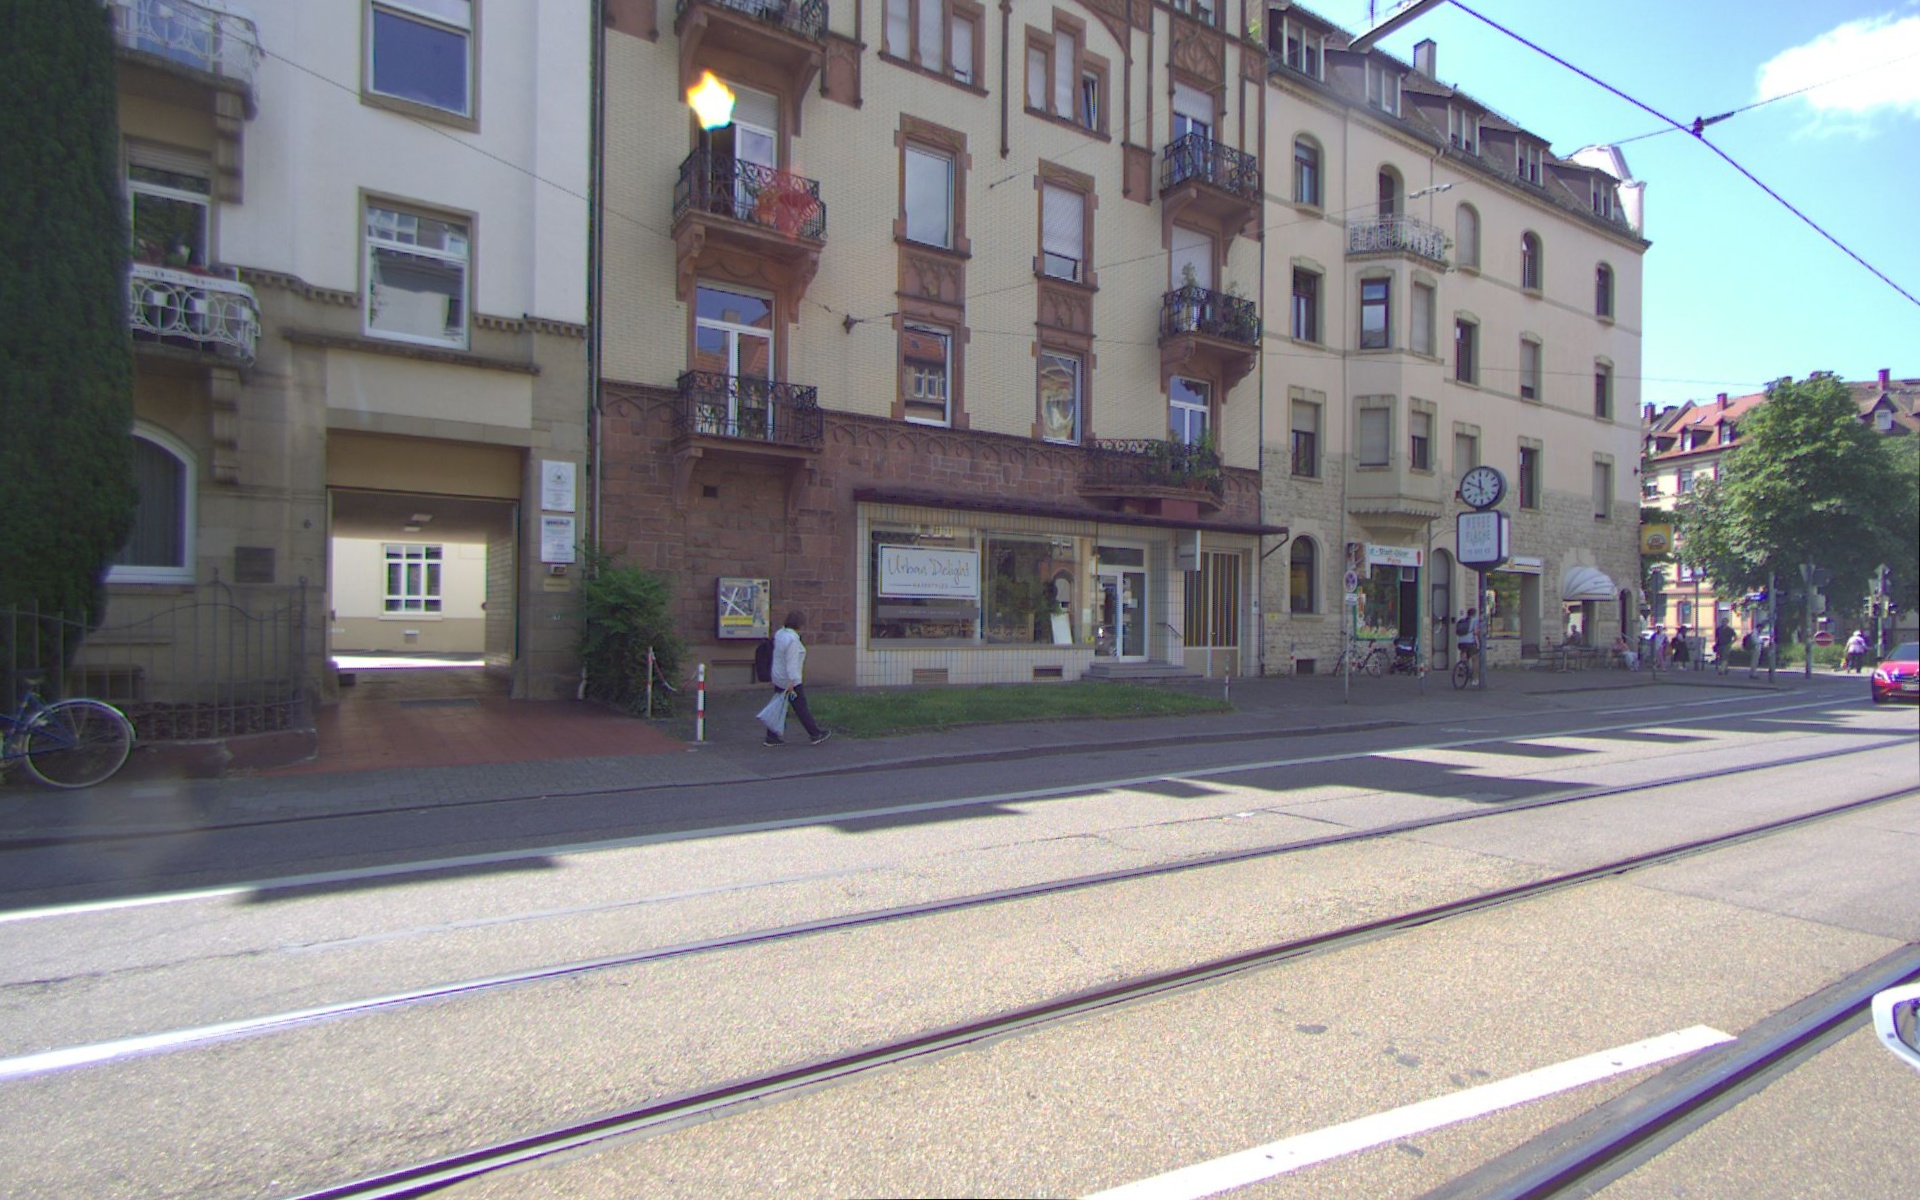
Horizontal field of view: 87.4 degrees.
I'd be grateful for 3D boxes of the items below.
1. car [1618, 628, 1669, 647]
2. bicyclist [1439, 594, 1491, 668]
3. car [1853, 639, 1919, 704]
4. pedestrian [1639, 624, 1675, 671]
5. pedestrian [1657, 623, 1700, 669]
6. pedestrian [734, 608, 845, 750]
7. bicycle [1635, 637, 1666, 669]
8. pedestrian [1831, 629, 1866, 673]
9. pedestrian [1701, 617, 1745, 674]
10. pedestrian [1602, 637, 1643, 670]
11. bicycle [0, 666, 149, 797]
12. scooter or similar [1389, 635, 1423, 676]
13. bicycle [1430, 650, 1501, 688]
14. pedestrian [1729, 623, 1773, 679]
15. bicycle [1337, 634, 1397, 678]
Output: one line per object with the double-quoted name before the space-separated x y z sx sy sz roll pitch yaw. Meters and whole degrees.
"car" 57.111 3.136 84.004 1.654 1.491 3.467 1 -1 -8
"bicyclist" 11.938 0.725 23.746 0.822 1.685 0.751 2 0 -33
"car" 22.809 1.637 23.647 4.387 1.432 1.810 2 -3 -37
"pedestrian" 24.351 1.643 35.105 0.793 1.616 0.920 0 -1 16
"pedestrian" 26.475 1.701 37.030 0.852 1.657 1.019 1 -1 -27
"pedestrian" -1.988 0.885 11.715 0.975 1.563 0.894 1 -1 -36
"bicycle" 25.431 1.962 37.006 0.534 1.143 1.683 1 -3 20
"pedestrian" 36.071 2.047 40.784 0.832 1.746 0.910 1 -1 -35
"pedestrian" 25.962 1.534 34.185 1.152 1.916 0.895 1 -1 -34
"pedestrian" 22.778 1.844 34.536 0.873 1.092 0.911 1 -1 -32
"bicycle" -7.548 1.019 7.851 1.822 0.973 0.408 3 1 -34
"scooter or similar" 12.264 1.514 27.633 0.682 1.058 1.210 2 0 17
"bicycle" 11.971 1.618 23.762 1.802 0.828 0.747 1 -1 -35
"pedestrian" 25.326 1.626 32.172 0.766 1.756 0.856 1 0 -29
"bicycle" 10.668 1.470 26.327 1.438 1.080 0.370 2 0 -10
